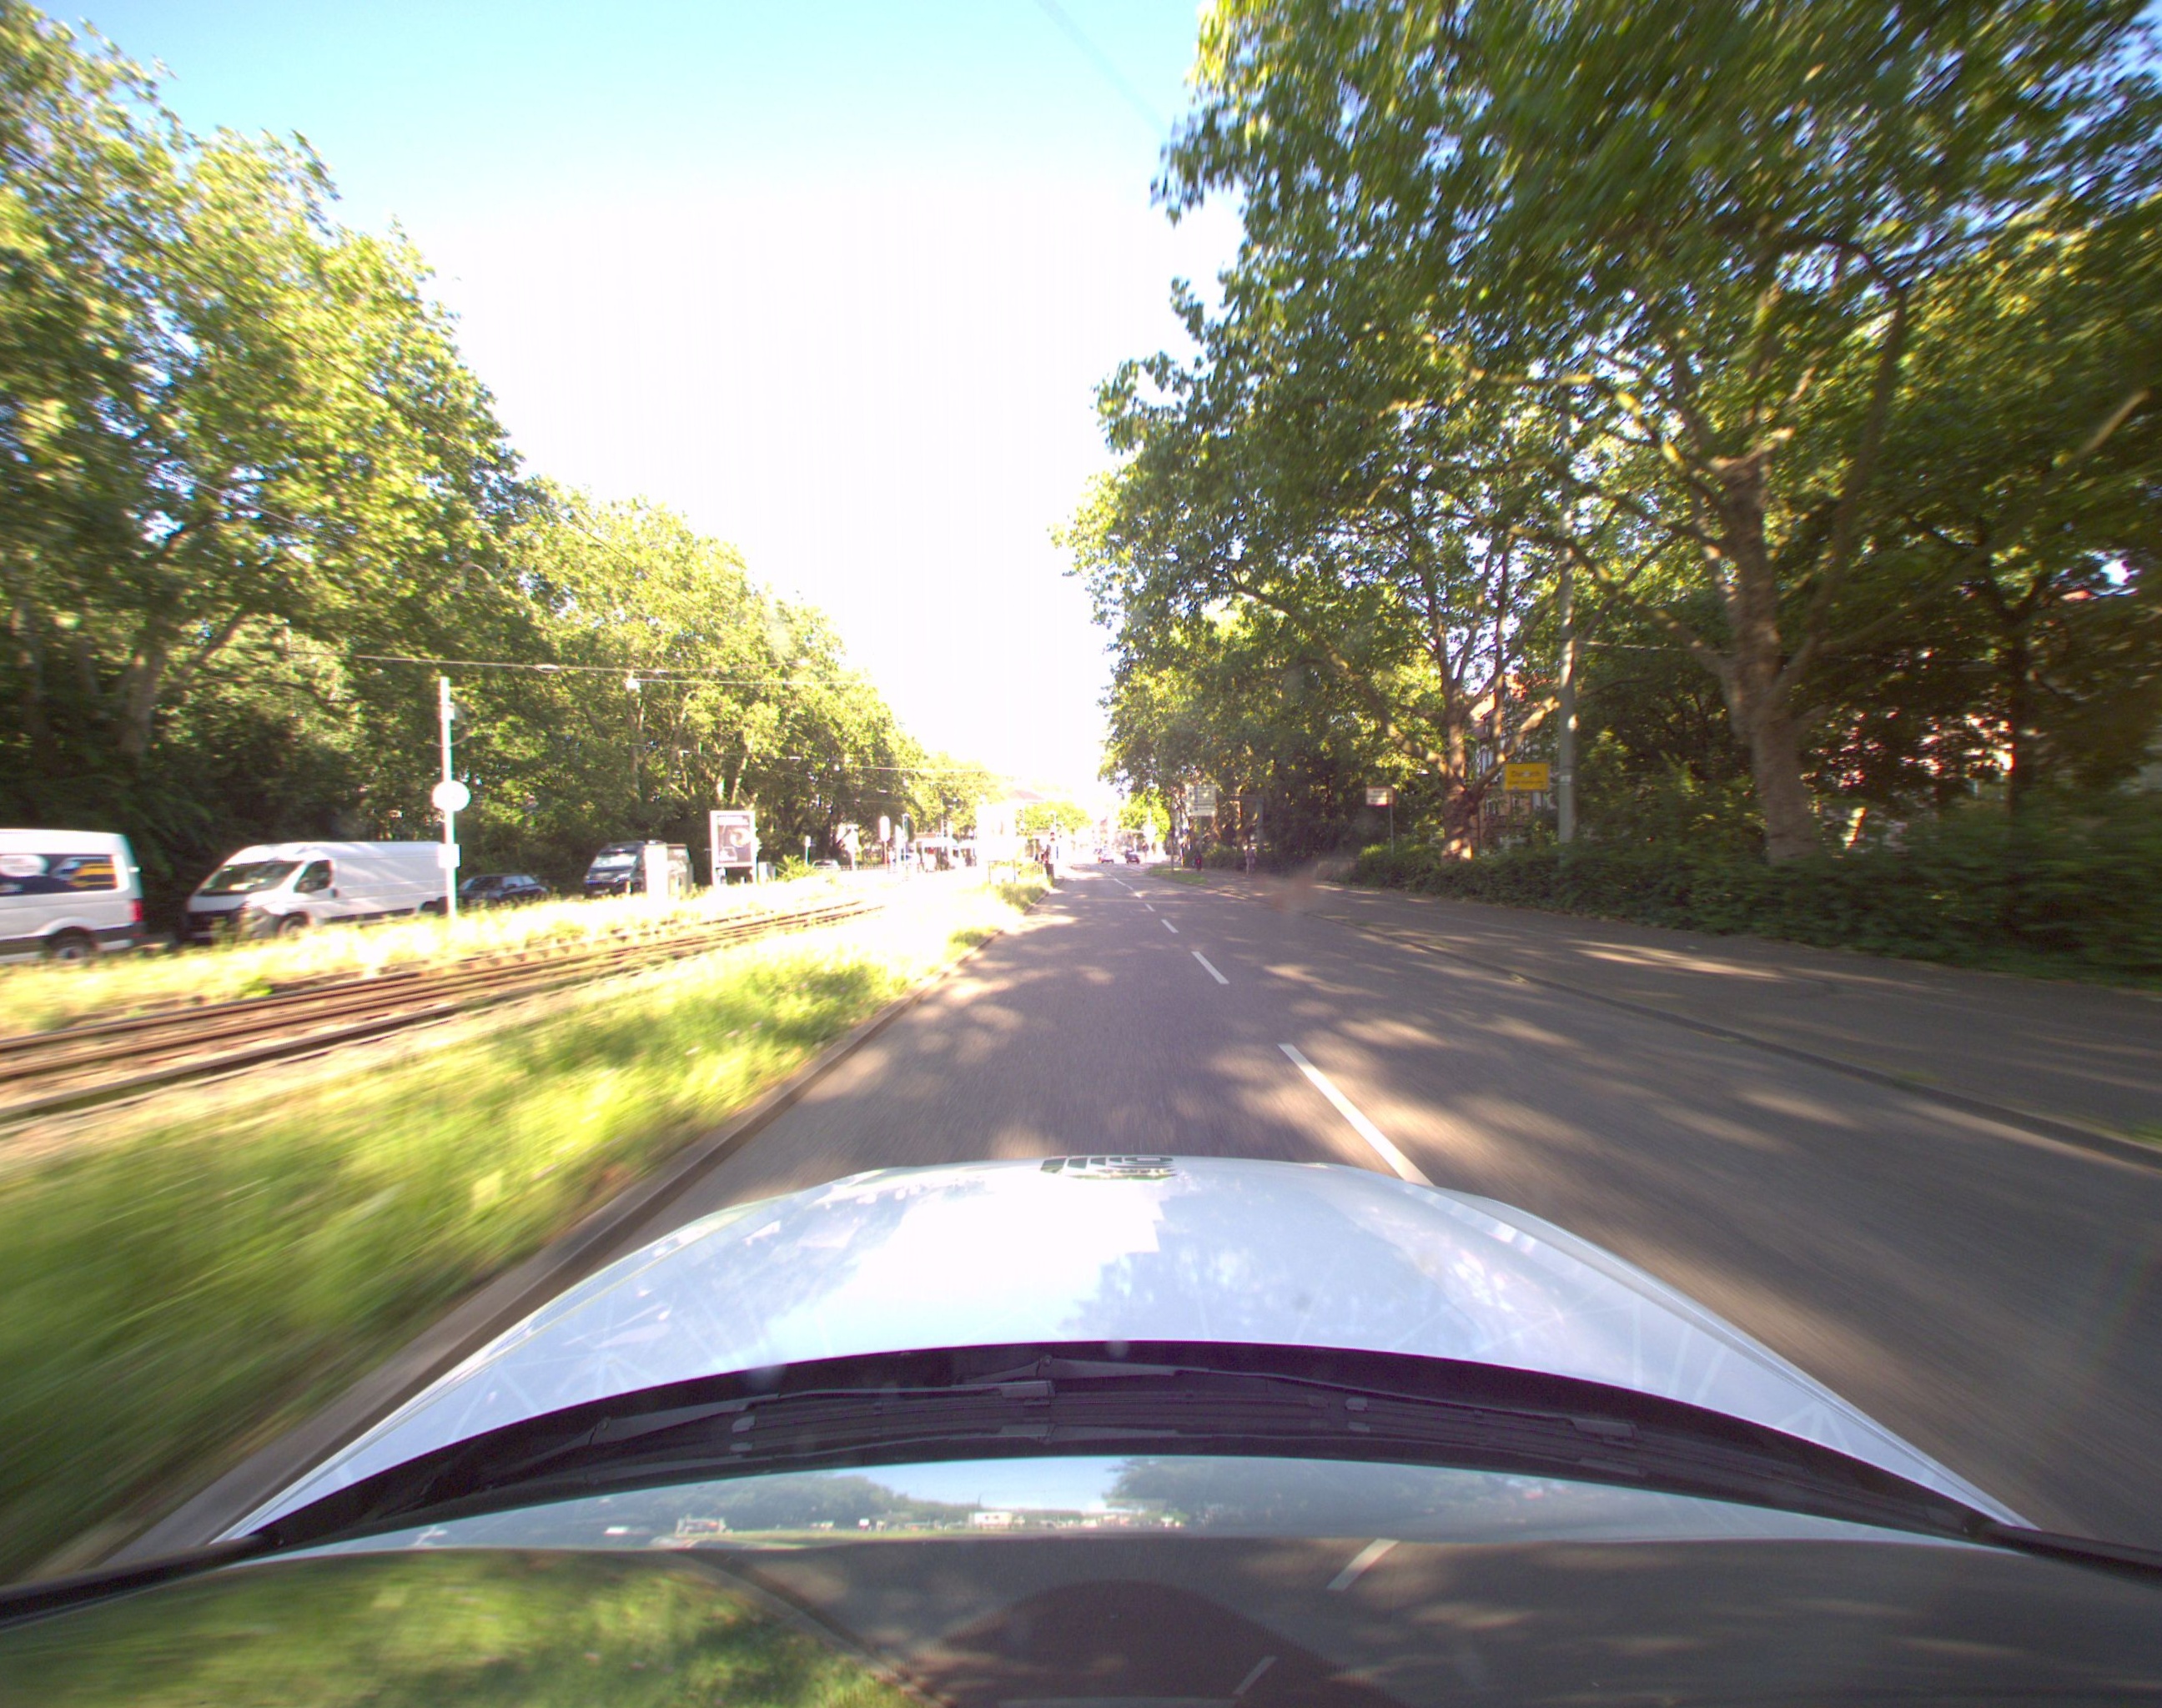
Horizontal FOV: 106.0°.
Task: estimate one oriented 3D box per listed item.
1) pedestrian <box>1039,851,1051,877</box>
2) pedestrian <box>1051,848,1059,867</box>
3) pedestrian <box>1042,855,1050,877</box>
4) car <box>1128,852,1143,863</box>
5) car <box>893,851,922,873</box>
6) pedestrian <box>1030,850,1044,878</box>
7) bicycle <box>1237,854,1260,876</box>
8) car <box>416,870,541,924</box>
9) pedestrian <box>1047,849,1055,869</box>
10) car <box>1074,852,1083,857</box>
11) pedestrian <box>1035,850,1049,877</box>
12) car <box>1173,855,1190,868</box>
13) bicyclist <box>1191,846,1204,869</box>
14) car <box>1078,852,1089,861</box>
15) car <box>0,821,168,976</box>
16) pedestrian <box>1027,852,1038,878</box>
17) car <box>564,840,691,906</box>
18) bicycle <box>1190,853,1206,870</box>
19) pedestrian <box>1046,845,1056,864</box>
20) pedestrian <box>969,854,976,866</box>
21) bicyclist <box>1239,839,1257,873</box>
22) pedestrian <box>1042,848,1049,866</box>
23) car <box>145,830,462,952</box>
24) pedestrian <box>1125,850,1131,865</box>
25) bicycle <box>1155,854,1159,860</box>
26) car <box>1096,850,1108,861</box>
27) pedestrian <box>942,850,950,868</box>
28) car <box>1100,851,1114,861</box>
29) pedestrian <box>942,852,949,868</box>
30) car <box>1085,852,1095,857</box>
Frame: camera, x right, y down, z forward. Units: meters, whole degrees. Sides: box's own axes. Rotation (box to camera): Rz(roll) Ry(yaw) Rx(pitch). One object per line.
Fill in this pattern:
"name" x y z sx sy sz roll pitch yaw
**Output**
"pedestrian" -2.157 0.600 48.302 0.588 1.519 0.514 -3 0 0
"pedestrian" -2.278 0.309 71.492 0.740 1.694 0.791 0 0 0
"pedestrian" -2.081 0.715 48.769 0.414 1.320 0.359 -3 0 0
"car" 7.843 0.497 116.967 1.794 1.439 4.044 0 0 0
"car" -18.641 0.867 87.892 2.062 2.124 5.086 -3 0 -2
"pedestrian" -2.550 0.564 47.215 0.515 1.568 0.511 -4 -1 30
"bicycle" 8.685 0.543 42.293 0.697 1.107 1.929 -1 0 -1
"car" -19.306 1.321 26.276 1.648 1.512 3.262 -3 0 -3
"pedestrian" -2.870 0.478 78.630 0.647 1.841 0.712 0 0 9
"car" -0.639 0.125 223.828 1.785 1.510 4.007 -1 0 7
"pedestrian" -2.270 0.567 47.625 0.515 1.568 0.511 -4 -1 30
"car" 14.796 1.070 120.097 1.790 1.898 4.355 0 -1 -2
"bicyclist" 7.791 0.262 54.528 0.764 1.513 0.650 -1 0 -1
"car" 0.368 0.337 130.999 1.803 1.452 3.998 0 0 -1
"car" -18.729 0.778 12.696 2.178 2.520 6.045 -3 0 -2
"pedestrian" -2.917 0.659 48.808 0.518 1.472 0.514 -3 0 1
"car" -19.469 0.764 35.394 2.178 2.520 6.028 -3 0 -2
"bicycle" 7.805 0.503 54.520 0.764 1.107 1.799 -1 0 -1
"pedestrian" -2.854 0.065 76.528 0.656 1.722 0.702 0 0 -36
"pedestrian" -12.527 0.661 94.302 0.668 1.324 0.756 -4 0 -2
"bicyclist" 8.676 0.116 42.366 0.697 1.728 1.079 -1 0 -2
"pedestrian" -3.074 0.253 71.377 0.586 1.567 0.650 0 0 0
"car" -19.152 0.818 20.710 2.179 2.520 6.264 -3 0 -3
"pedestrian" 5.775 0.389 100.133 0.655 1.871 0.677 -1 0 -1
"bicycle" 12.328 0.479 132.458 0.497 1.075 1.799 0 -1 0
"car" 3.314 0.213 129.318 1.795 1.638 4.044 -1 0 -1
"pedestrian" -12.954 0.482 78.375 0.645 1.772 0.650 0 -1 2
"car" 3.925 0.320 121.913 1.923 1.472 4.854 -1 0 0
"pedestrian" -12.928 0.589 77.627 0.591 1.544 0.627 0 -1 0
"car" 2.519 0.134 231.924 1.779 1.510 4.019 -2 0 19
